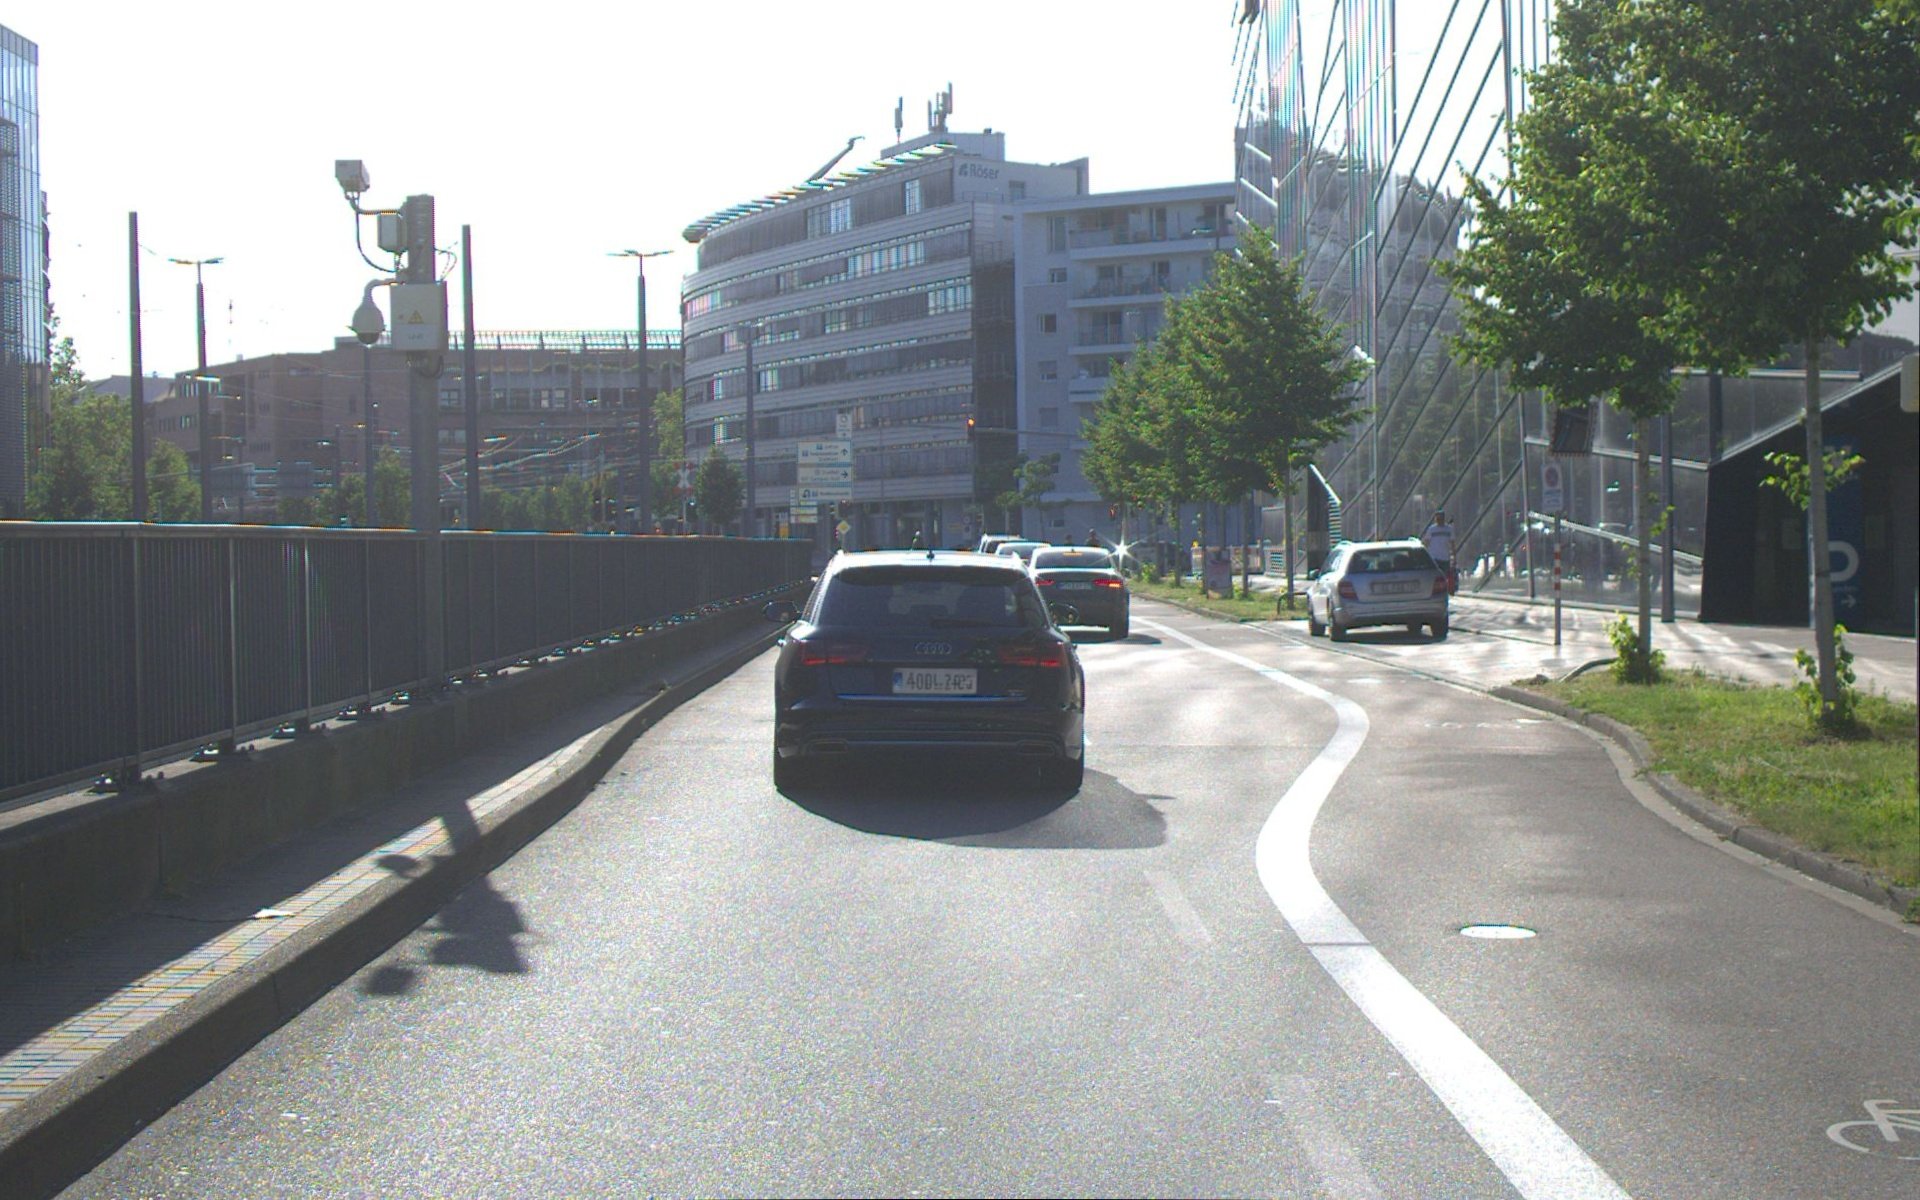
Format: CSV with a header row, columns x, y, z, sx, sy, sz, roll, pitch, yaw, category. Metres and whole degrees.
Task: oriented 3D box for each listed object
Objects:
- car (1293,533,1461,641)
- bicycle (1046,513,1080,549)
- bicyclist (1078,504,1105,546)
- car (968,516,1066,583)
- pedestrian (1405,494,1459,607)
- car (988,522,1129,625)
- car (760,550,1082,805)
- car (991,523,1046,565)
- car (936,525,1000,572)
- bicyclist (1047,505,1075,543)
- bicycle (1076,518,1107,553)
x,y,z,sx,sy,sz,roll,pitch,yaw,category
6.330,-0.243,52.666,1.852,1.476,4.854,-2,1,-1,car
3.460,-2.322,115.737,0.724,1.180,2.094,-2,1,-8,bicycle
4.546,-2.607,119.009,0.724,1.413,0.892,-2,1,-7,bicyclist
1.280,-1.181,79.083,1.993,1.460,4.001,0,2,-3,car
8.533,-0.902,62.187,0.836,2.007,0.689,-2,1,1,pedestrian
1.523,-0.450,54.522,1.852,1.541,4.001,1,1,-4,car
-0.261,0.411,21.902,1.812,1.422,4.690,-1,1,-1,car
2.140,-2.044,125.141,1.993,1.460,4.000,0,2,1,car
0.282,-1.700,112.431,1.993,1.460,4.000,0,2,1,car
3.388,-2.549,115.725,0.724,1.264,1.036,-2,1,-8,bicyclist
4.546,-2.218,118.994,0.724,1.180,2.094,-2,1,-7,bicycle
